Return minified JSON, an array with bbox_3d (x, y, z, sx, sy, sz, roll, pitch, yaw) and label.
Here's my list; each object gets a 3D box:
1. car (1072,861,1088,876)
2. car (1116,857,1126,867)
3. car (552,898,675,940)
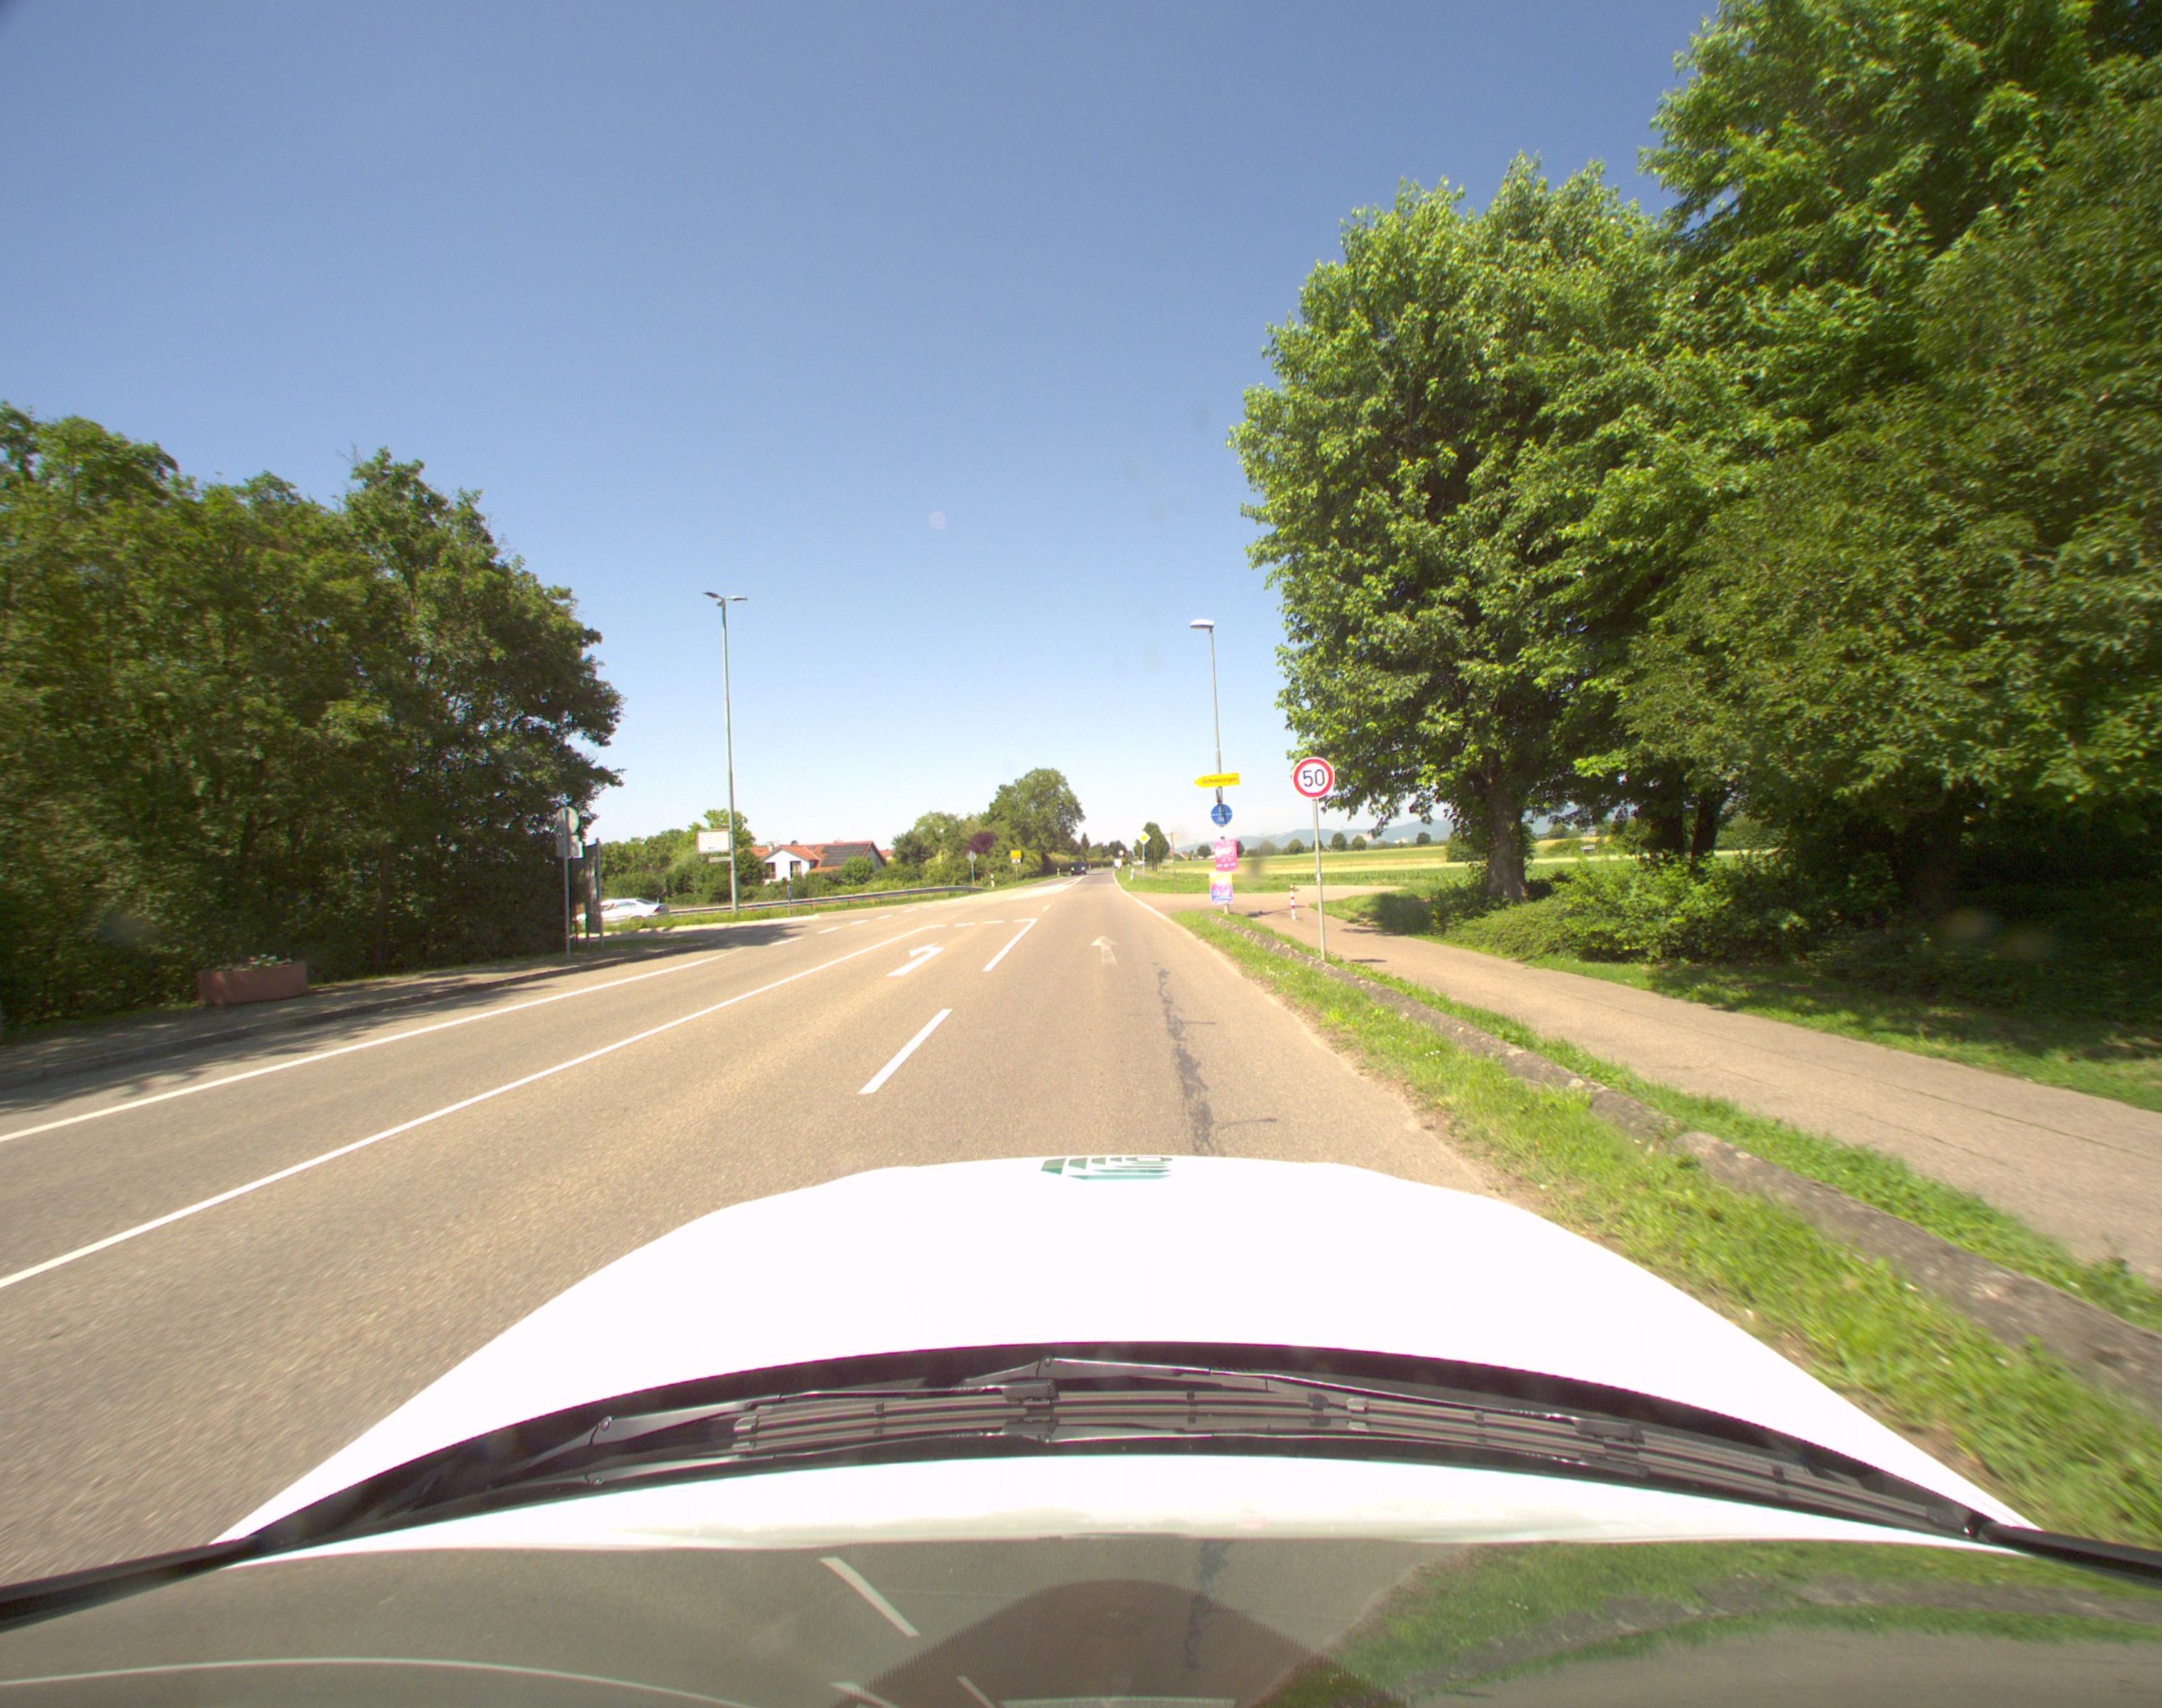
[{"bbox_3d":[-0.087,1.956,113.270,2.137,1.951,5.247,-4,0,0],"label":"car"},{"bbox_3d":[12.061,2.413,244.939,1.977,2.651,4.019,-4,-1,18],"label":"car"},{"bbox_3d":[-20.877,2.872,36.514,4.406,1.471,1.634,-3,-1,-13],"label":"car"}]
